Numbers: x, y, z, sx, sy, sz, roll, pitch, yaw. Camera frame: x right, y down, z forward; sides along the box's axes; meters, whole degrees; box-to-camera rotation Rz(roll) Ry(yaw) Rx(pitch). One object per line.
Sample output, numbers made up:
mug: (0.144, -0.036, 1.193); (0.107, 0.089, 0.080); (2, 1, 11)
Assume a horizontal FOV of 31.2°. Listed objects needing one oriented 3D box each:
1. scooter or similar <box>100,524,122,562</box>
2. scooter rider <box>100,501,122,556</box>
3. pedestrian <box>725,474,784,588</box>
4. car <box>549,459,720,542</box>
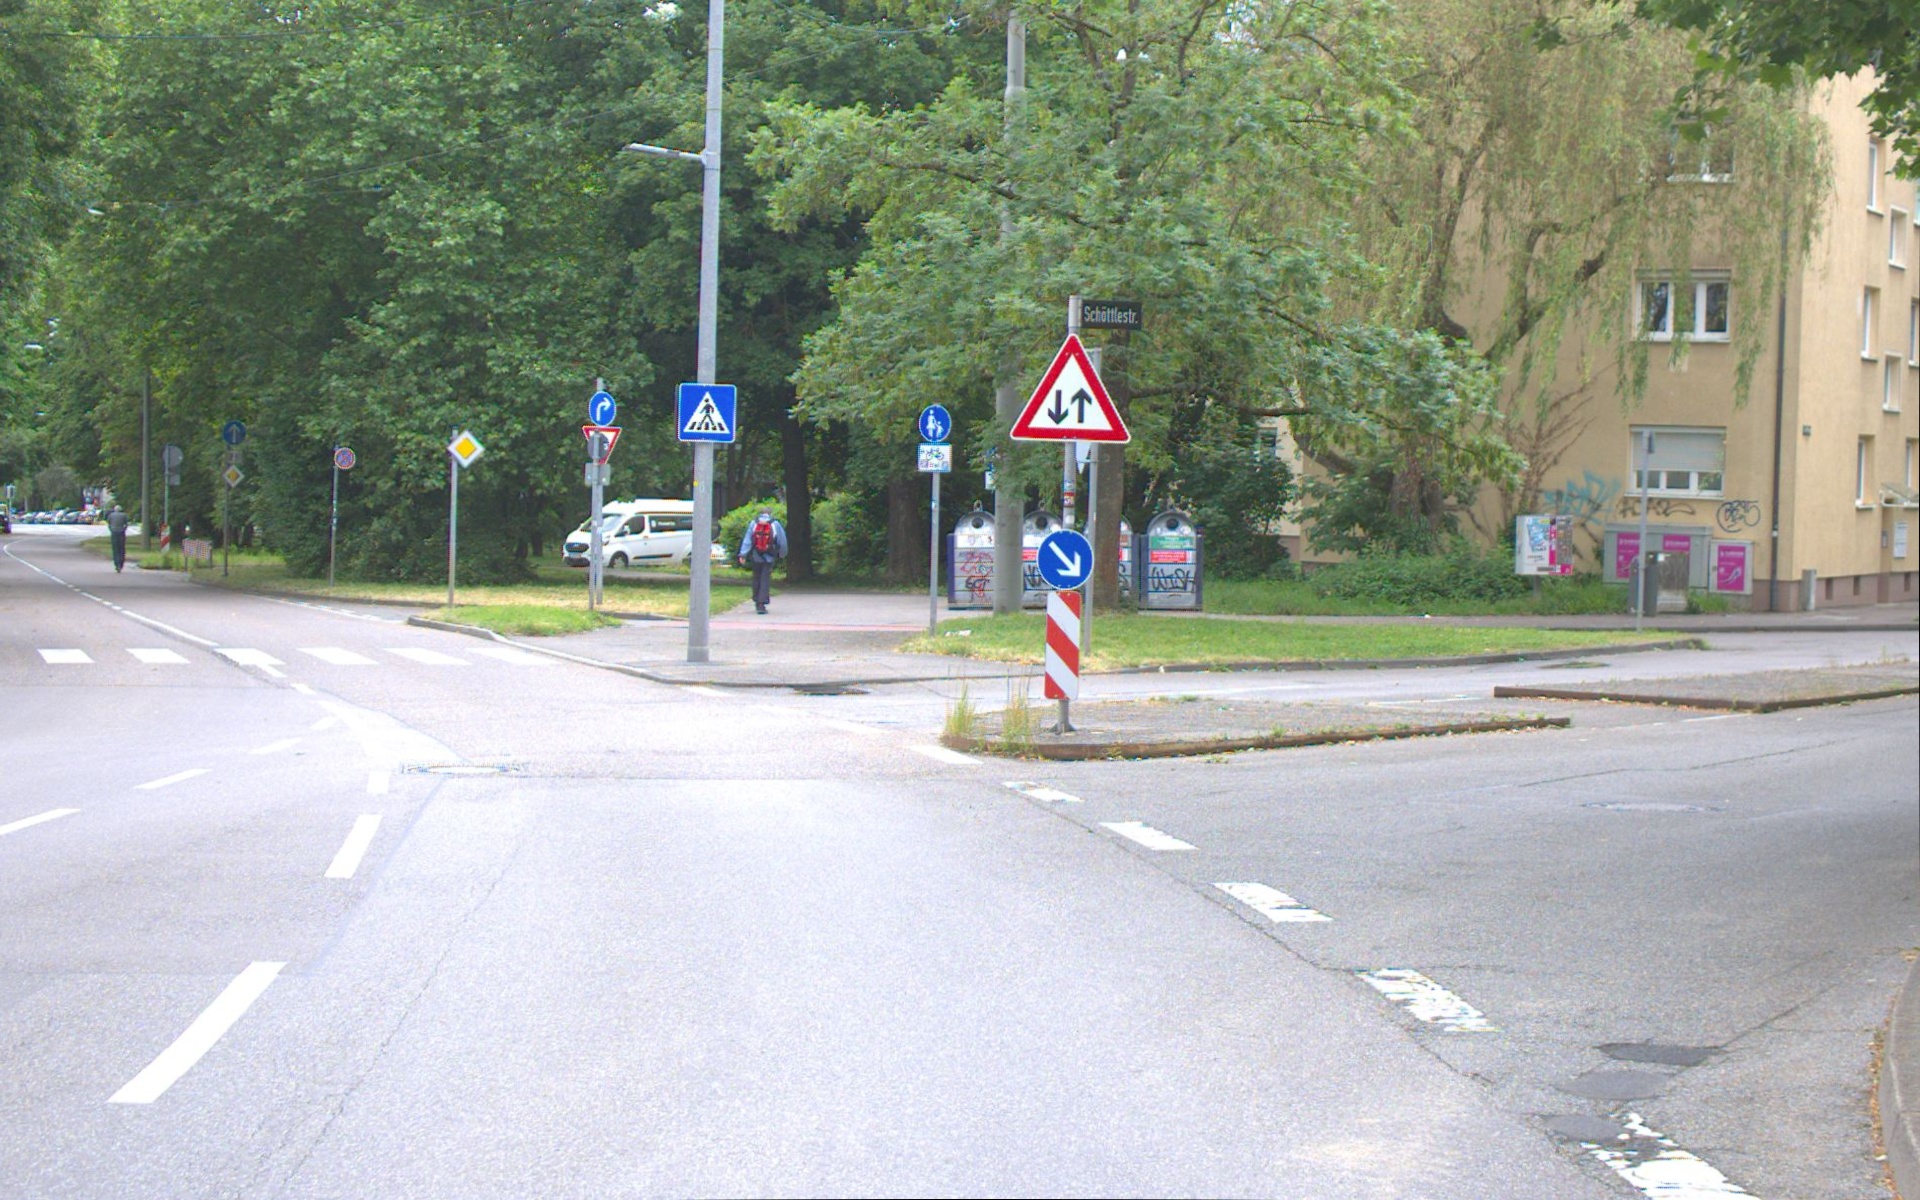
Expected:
scooter or similar: (-23.883, -1.606, 96.698); (0.600, 1.051, 0.873); (0, 3, -14)
scooter rider: (-23.880, -2.014, 96.710); (0.600, 1.547, 0.566); (0, 3, -14)
pedestrian: (-3.518, -1.185, 58.853); (0.923, 1.865, 1.019); (-2, 5, -4)
car: (-10.333, -3.153, 109.437); (2.136, 2.289, 5.373); (6, 3, 38)
